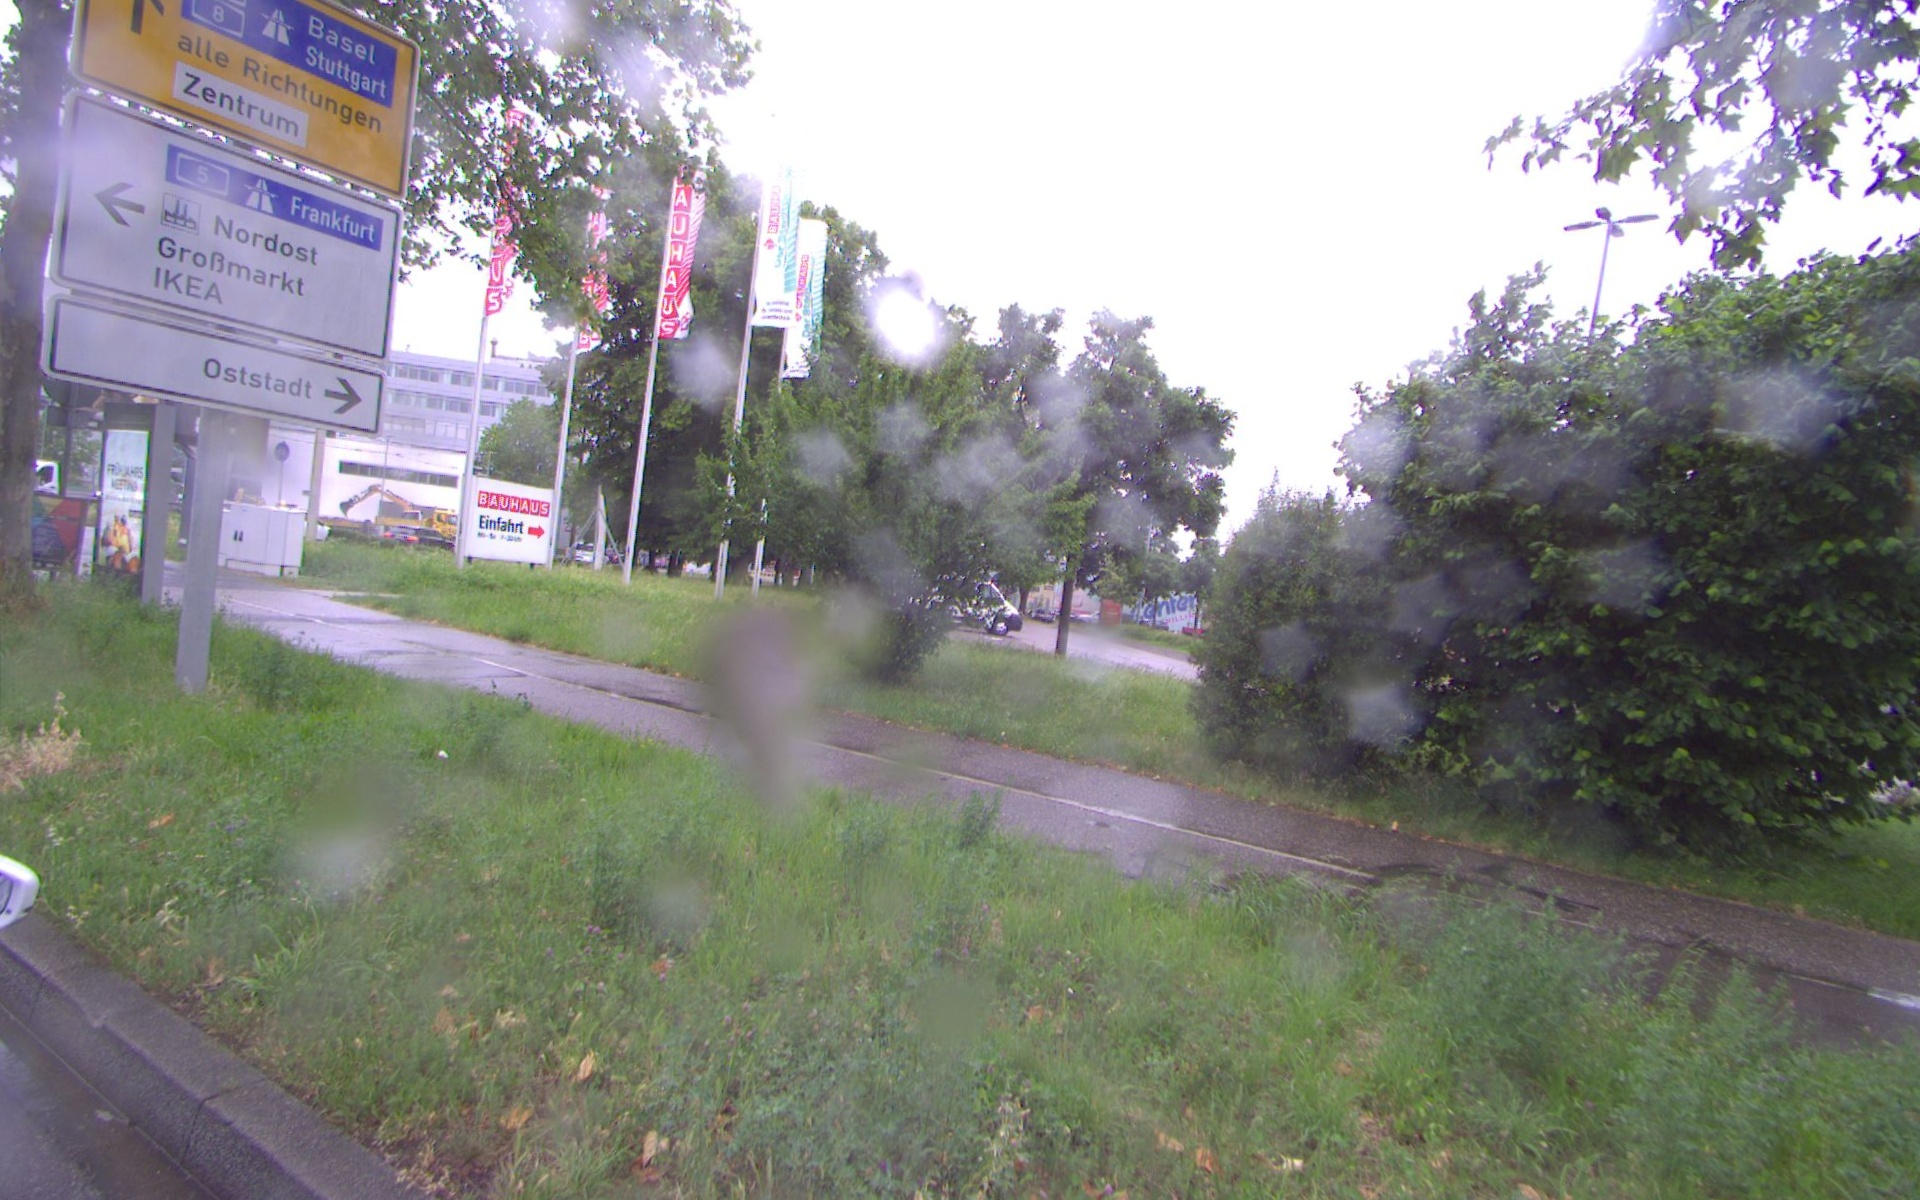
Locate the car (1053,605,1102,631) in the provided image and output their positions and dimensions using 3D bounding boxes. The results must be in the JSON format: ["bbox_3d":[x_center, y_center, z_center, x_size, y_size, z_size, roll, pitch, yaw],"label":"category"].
[{"bbox_3d":[11.835,1.840,101.688,4.612,2.038,2.001,7,0,3],"label":"car"}]

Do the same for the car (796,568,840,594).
[{"bbox_3d":[-14.467,-1.952,102.318,4.214,2.075,1.760,8,1,-11],"label":"car"}]

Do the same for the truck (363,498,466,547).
[{"bbox_3d":[-52.677,-7.440,97.331,7.747,3.552,3.325,7,1,-4],"label":"truck"}]

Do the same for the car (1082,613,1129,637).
[{"bbox_3d":[15.520,2.670,107.363,4.612,2.038,2.001,7,0,3],"label":"car"}]

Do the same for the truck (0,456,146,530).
[{"bbox_3d":[-37.973,-4.473,42.105,2.438,2.394,6.861,7,0,-4],"label":"truck"}]

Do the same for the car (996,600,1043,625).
[{"bbox_3d":[6.223,1.266,105.483,4.615,2.039,1.998,7,1,-3],"label":"car"}]

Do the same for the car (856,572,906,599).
[{"bbox_3d":[-7.860,-1.445,100.590,4.670,2.241,1.964,6,1,-2],"label":"car"}]

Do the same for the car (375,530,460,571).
[{"bbox_3d":[-27.237,-2.437,50.686,1.893,1.606,4.622,6,0,-4],"label":"car"}]

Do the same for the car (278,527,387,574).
[{"bbox_3d":[-27.186,-2.092,43.783,1.892,1.606,4.623,6,0,-3],"label":"car"}]

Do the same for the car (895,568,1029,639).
[{"bbox_3d":[0.027,0.119,40.916,5.015,2.232,2.188,7,1,-9],"label":"car"}]

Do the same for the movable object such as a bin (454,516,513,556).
[{"bbox_3d":[-50.184,-6.723,106.149,3.268,3.552,6.316,6,1,-3],"label":"movable object such as a bin"}]

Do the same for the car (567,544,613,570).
[{"bbox_3d":[-27.962,-3.222,76.180,1.892,1.606,4.623,6,0,-4],"label":"car"}]

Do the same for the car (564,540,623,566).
[{"bbox_3d":[-35.967,-4.590,98.812,4.968,1.674,1.882,8,-2,-2],"label":"car"}]

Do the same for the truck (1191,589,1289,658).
[{"bbox_3d":[16.522,1.333,60.232,2.507,3.511,9.397,8,0,-2],"label":"truck"}]

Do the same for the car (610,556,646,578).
[{"bbox_3d":[-29.759,-2.915,90.295,1.892,1.606,4.623,6,0,-4],"label":"car"}]

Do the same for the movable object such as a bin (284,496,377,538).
[{"bbox_3d":[-60.592,-7.925,97.007,6.601,3.034,3.324,7,1,-4],"label":"movable object such as a bin"}]

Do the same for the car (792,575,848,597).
[{"bbox_3d":[-15.420,-1.584,111.067,5.853,1.754,2.276,6,1,-3],"label":"car"}]

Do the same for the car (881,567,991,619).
[{"bbox_3d":[-1.392,-0.408,57.642,5.955,2.232,2.190,7,1,-2],"label":"car"}]

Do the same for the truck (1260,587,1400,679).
[{"bbox_3d":[16.718,1.339,46.185,2.508,3.513,8.008,8,0,-4],"label":"truck"}]
